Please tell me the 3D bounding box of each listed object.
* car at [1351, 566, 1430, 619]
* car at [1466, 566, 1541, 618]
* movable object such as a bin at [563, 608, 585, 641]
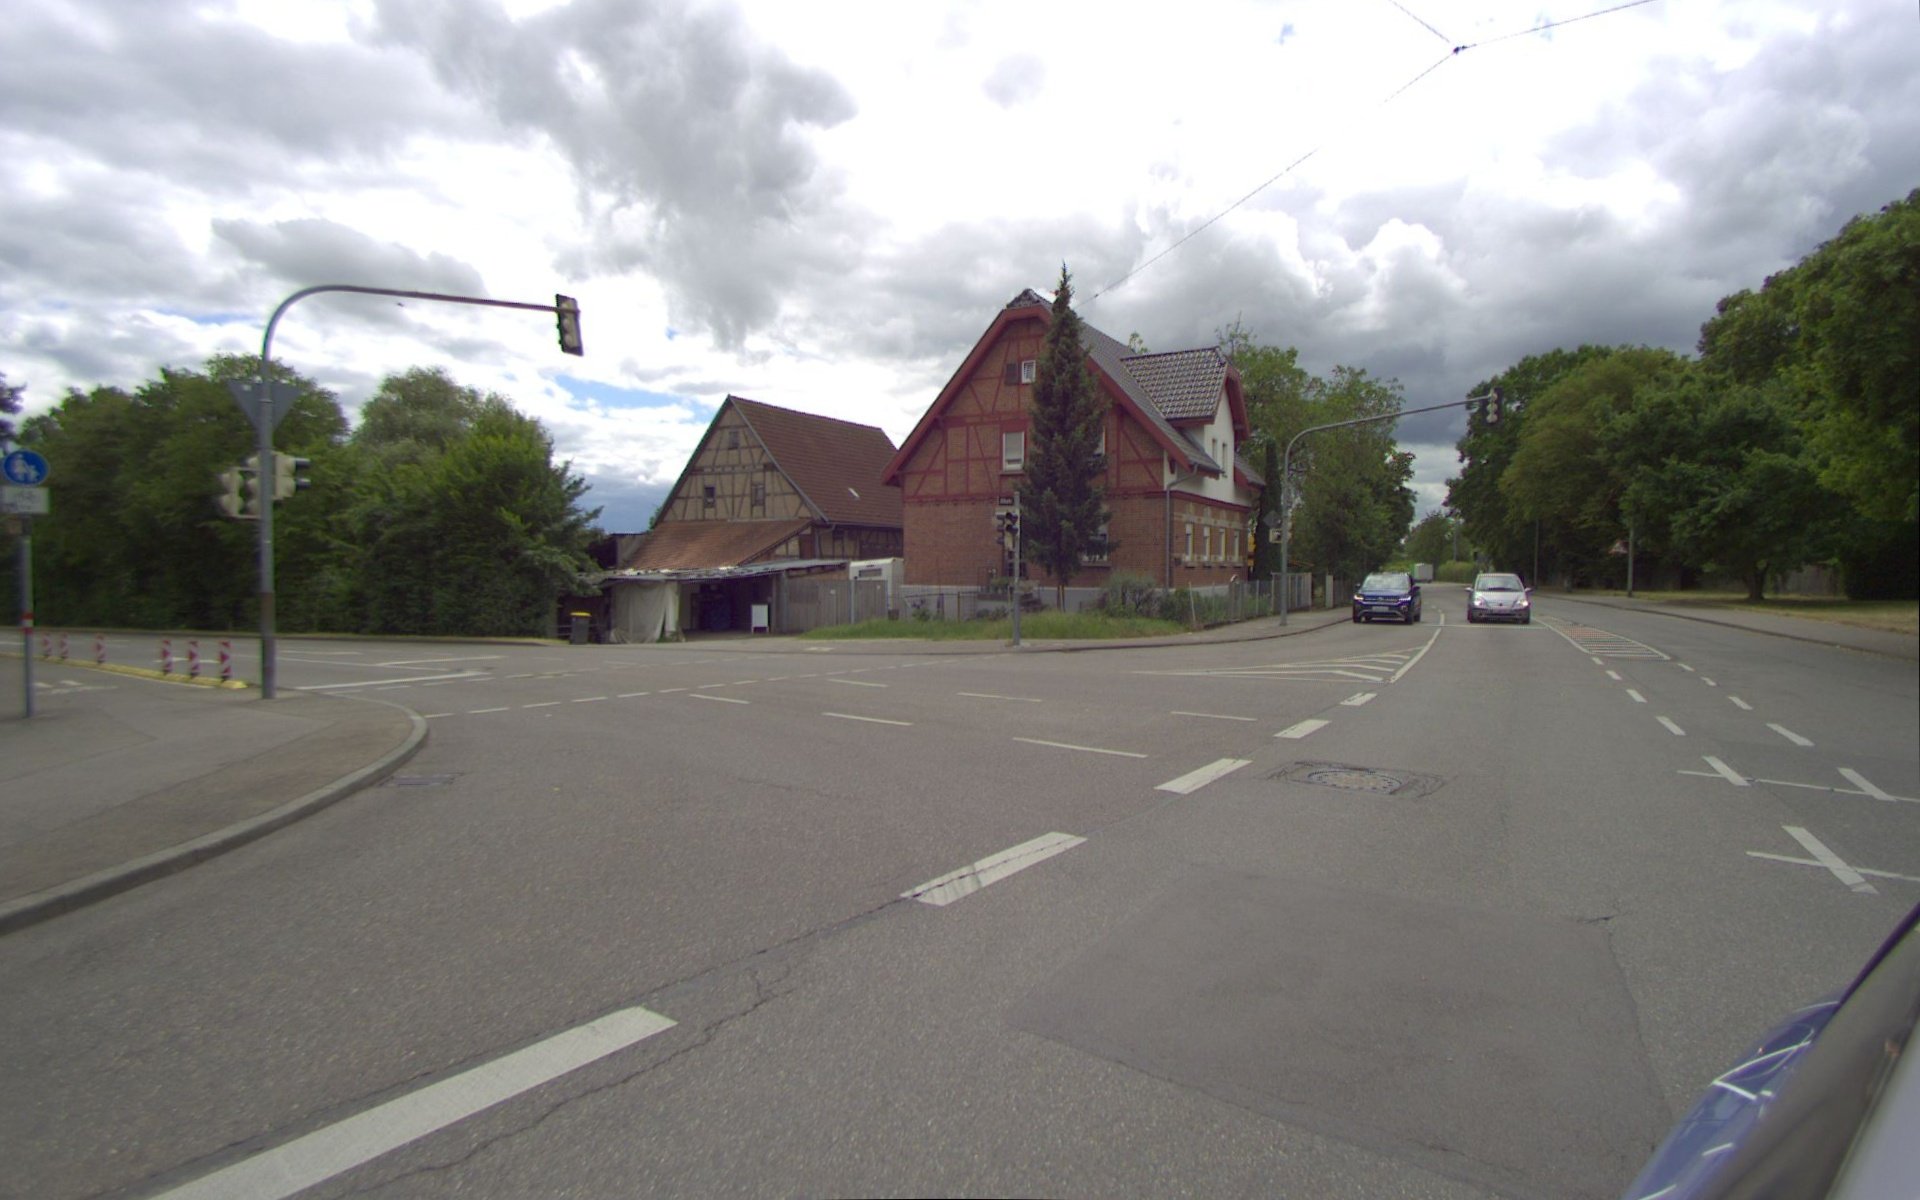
[{"bbox_3d":[13.642,-0.296,31.974,1.911,1.537,3.960,1,2,29],"label":"car"},{"bbox_3d":[17.492,-0.299,32.715,1.761,1.537,3.532,-1,2,23],"label":"car"},{"bbox_3d":[-11.304,0.721,29.676,0.581,0.918,0.604,-1,2,-20],"label":"movable object such as a bin"}]
